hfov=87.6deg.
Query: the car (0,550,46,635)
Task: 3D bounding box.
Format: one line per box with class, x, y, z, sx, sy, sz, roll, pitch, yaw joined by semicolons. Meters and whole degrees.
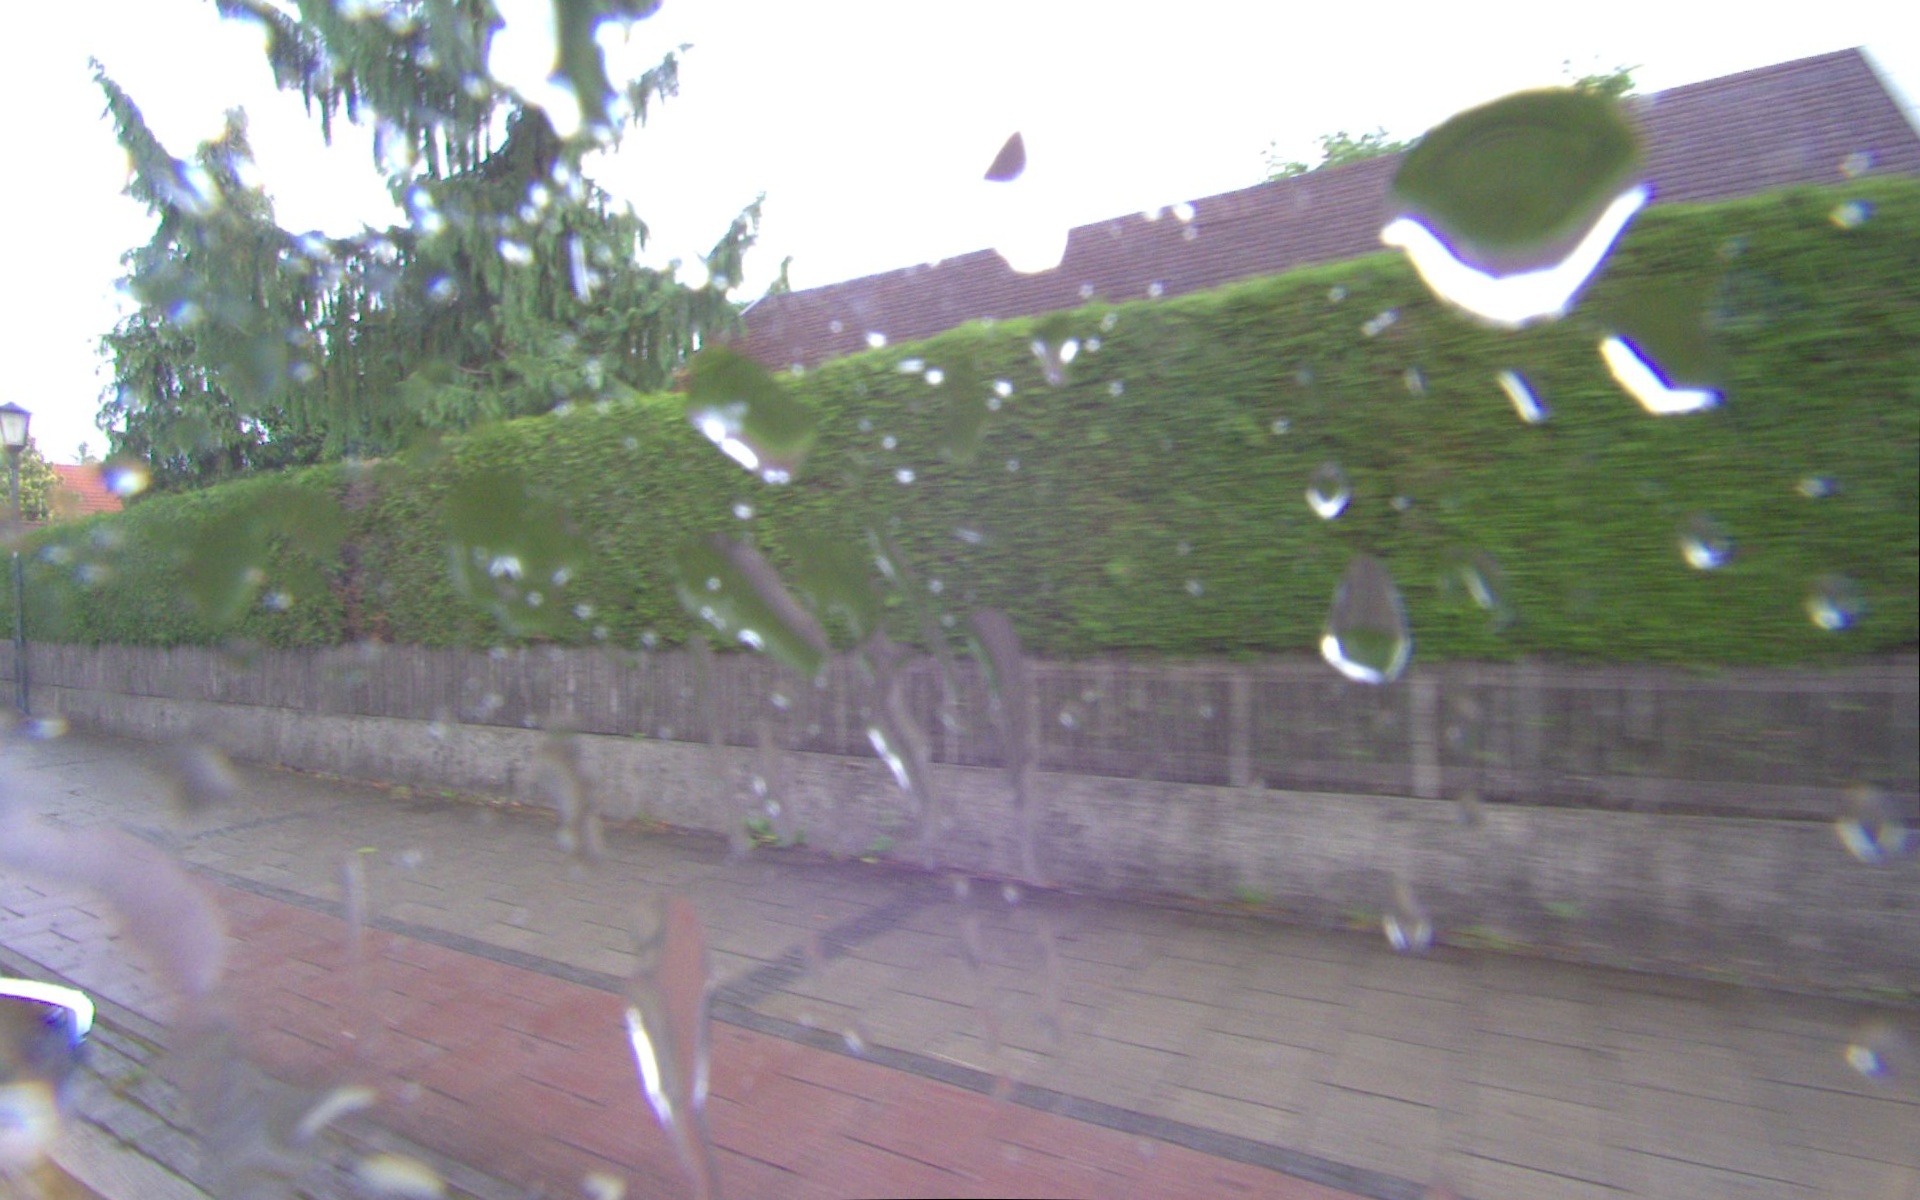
car;-27.390;-0.159;27.142;4.870;2.201;1.995;-1;-2;23
